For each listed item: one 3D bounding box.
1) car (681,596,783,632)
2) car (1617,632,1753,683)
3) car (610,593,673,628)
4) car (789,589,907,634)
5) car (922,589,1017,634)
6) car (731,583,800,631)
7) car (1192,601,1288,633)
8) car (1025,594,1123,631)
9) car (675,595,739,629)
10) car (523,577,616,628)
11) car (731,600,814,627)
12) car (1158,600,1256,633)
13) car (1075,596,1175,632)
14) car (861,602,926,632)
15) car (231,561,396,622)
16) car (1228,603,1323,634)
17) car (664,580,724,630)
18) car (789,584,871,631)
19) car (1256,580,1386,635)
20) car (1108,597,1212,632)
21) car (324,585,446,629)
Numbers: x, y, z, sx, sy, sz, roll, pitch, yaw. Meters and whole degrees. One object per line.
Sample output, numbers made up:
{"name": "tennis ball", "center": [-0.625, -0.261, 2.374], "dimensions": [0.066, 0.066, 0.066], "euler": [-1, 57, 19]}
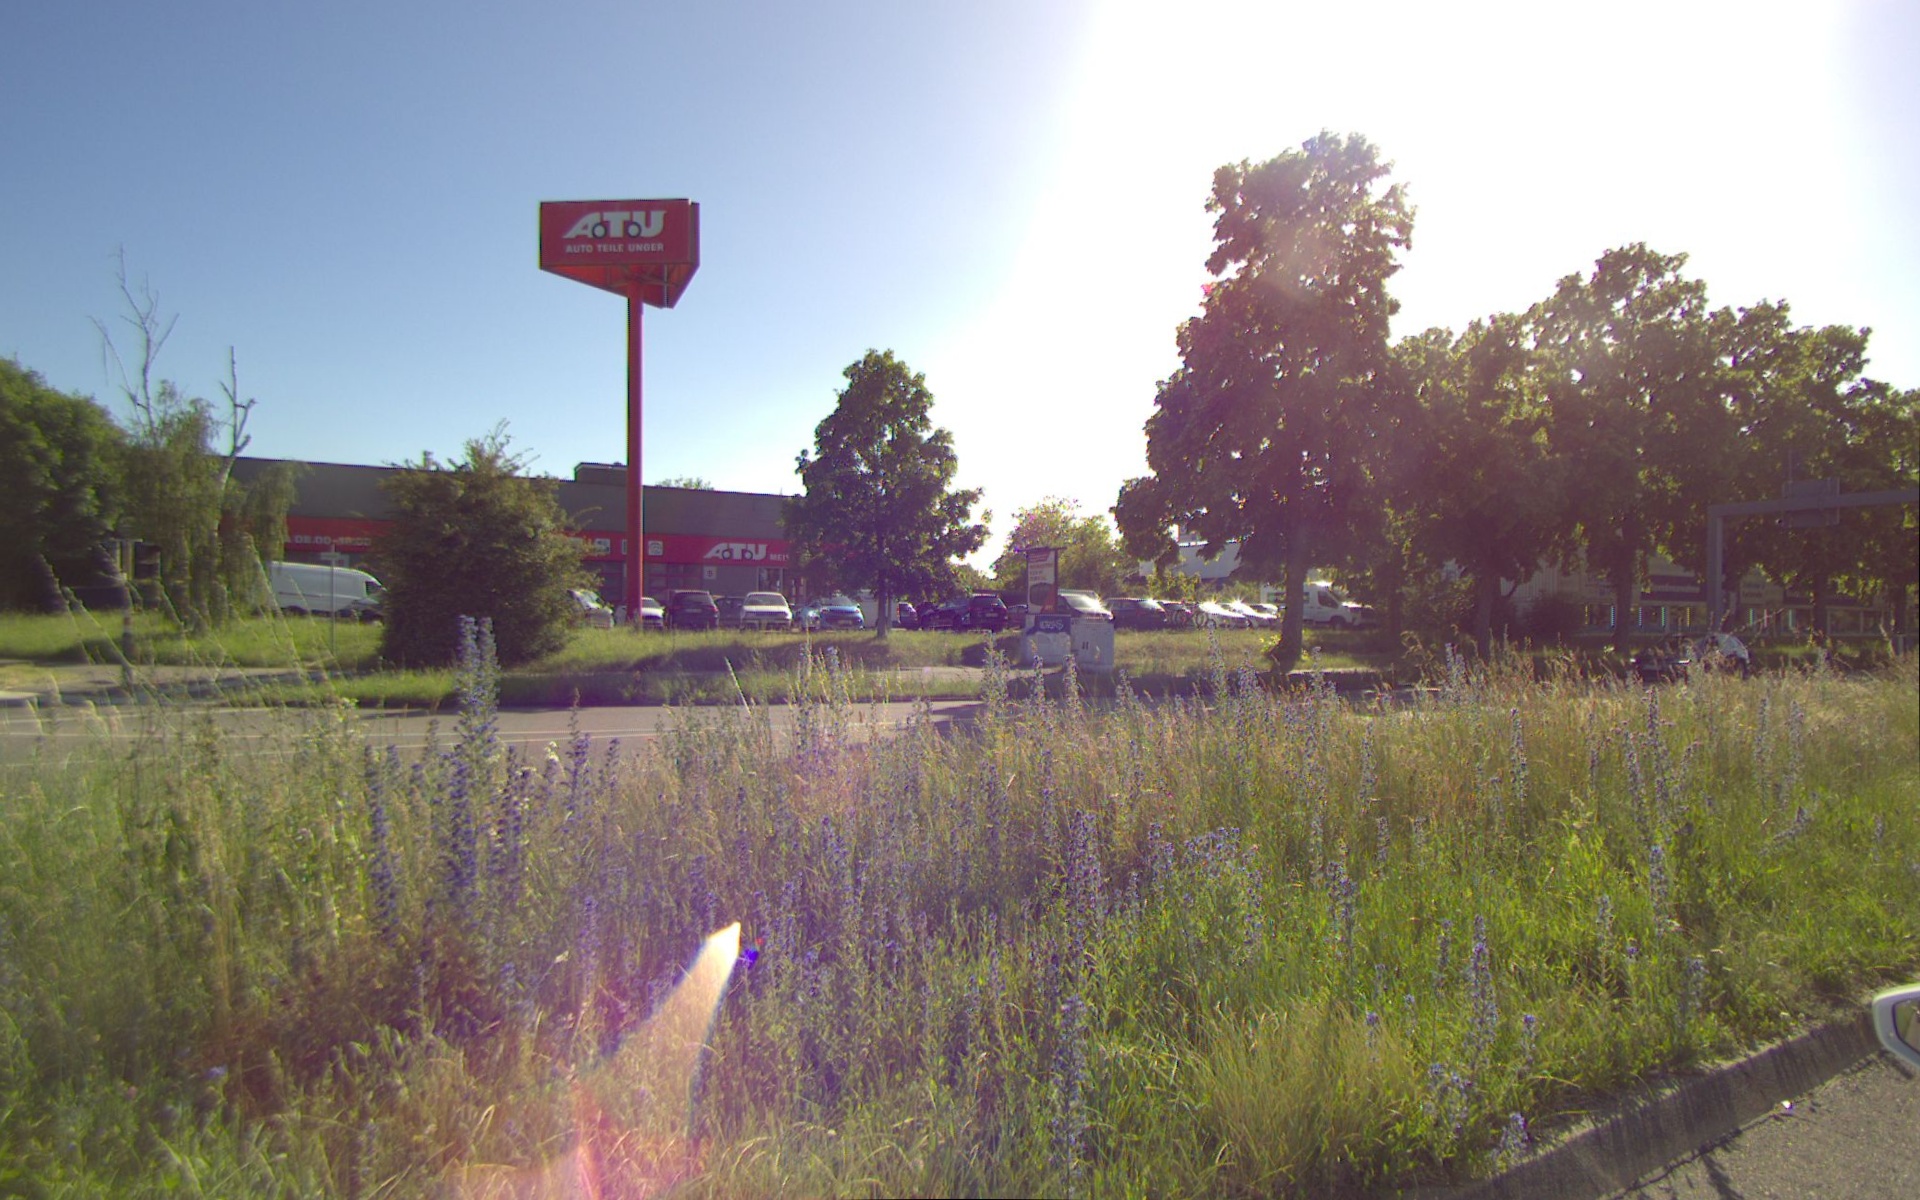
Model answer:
{"name": "car", "center": [-9.796, 0.626, 43.198], "dimensions": [3.935, 1.474, 1.772], "euler": [1, -1, -29]}
{"name": "car", "center": [22.199, 1.728, 30.733], "dimensions": [4.330, 1.444, 1.772], "euler": [1, -3, -30]}
{"name": "car", "center": [-14.273, 0.499, 44.882], "dimensions": [1.873, 1.474, 4.100], "euler": [1, -1, -29]}
{"name": "car", "center": [-5.114, 0.540, 45.975], "dimensions": [5.062, 1.982, 1.774], "euler": [1, -1, -26]}
{"name": "car", "center": [0.299, 0.458, 37.715], "dimensions": [1.921, 1.572, 4.104], "euler": [1, -1, -26]}
{"name": "car", "center": [-6.831, 0.264, 34.957], "dimensions": [1.866, 1.572, 4.115], "euler": [1, -1, -18]}
{"name": "car", "center": [12.849, 0.803, 46.301], "dimensions": [1.925, 1.407, 4.095], "euler": [1, -1, -32]}
{"name": "car", "center": [4.597, 0.521, 40.966], "dimensions": [1.924, 1.407, 4.098], "euler": [1, -1, -30]}
{"name": "car", "center": [-11.800, 0.578, 46.732], "dimensions": [1.873, 1.474, 4.100], "euler": [1, -1, -29]}
{"name": "car", "center": [-12.813, 0.118, 33.218], "dimensions": [1.860, 1.572, 4.127], "euler": [0, -1, -7]}
{"name": "car", "center": [-10.556, 0.791, 56.451], "dimensions": [4.234, 1.474, 1.881], "euler": [1, -1, -29]}
{"name": "car", "center": [10.911, 0.736, 44.592], "dimensions": [1.925, 1.407, 4.095], "euler": [1, -1, -32]}
{"name": "car", "center": [6.786, 0.590, 41.694], "dimensions": [1.925, 1.407, 4.095], "euler": [1, -1, -32]}
{"name": "car", "center": [-3.460, 0.858, 51.609], "dimensions": [1.871, 1.474, 4.103], "euler": [1, -1, -27]}
{"name": "car", "center": [-24.613, -0.241, 38.478], "dimensions": [1.861, 2.180, 5.039], "euler": [0, -1, 28]}
{"name": "car", "center": [14.965, 0.874, 47.805], "dimensions": [1.925, 1.407, 4.095], "euler": [1, -1, -32]}
{"name": "car", "center": [-9.095, 0.192, 34.135], "dimensions": [1.865, 1.572, 4.117], "euler": [1, -1, -17]}
{"name": "car", "center": [-4.712, 0.299, 35.973], "dimensions": [1.793, 1.572, 4.107], "euler": [1, -1, -24]}
{"name": "car", "center": [17.394, 0.403, 48.724], "dimensions": [2.183, 2.465, 5.844], "euler": [1, -1, -32]}
{"name": "car", "center": [8.527, 0.644, 43.220], "dimensions": [1.923, 1.407, 4.600], "euler": [1, -1, -29]}
{"name": "car", "center": [-20.584, 0.267, 36.149], "dimensions": [1.857, 1.474, 4.133], "euler": [0, -1, 3]}
